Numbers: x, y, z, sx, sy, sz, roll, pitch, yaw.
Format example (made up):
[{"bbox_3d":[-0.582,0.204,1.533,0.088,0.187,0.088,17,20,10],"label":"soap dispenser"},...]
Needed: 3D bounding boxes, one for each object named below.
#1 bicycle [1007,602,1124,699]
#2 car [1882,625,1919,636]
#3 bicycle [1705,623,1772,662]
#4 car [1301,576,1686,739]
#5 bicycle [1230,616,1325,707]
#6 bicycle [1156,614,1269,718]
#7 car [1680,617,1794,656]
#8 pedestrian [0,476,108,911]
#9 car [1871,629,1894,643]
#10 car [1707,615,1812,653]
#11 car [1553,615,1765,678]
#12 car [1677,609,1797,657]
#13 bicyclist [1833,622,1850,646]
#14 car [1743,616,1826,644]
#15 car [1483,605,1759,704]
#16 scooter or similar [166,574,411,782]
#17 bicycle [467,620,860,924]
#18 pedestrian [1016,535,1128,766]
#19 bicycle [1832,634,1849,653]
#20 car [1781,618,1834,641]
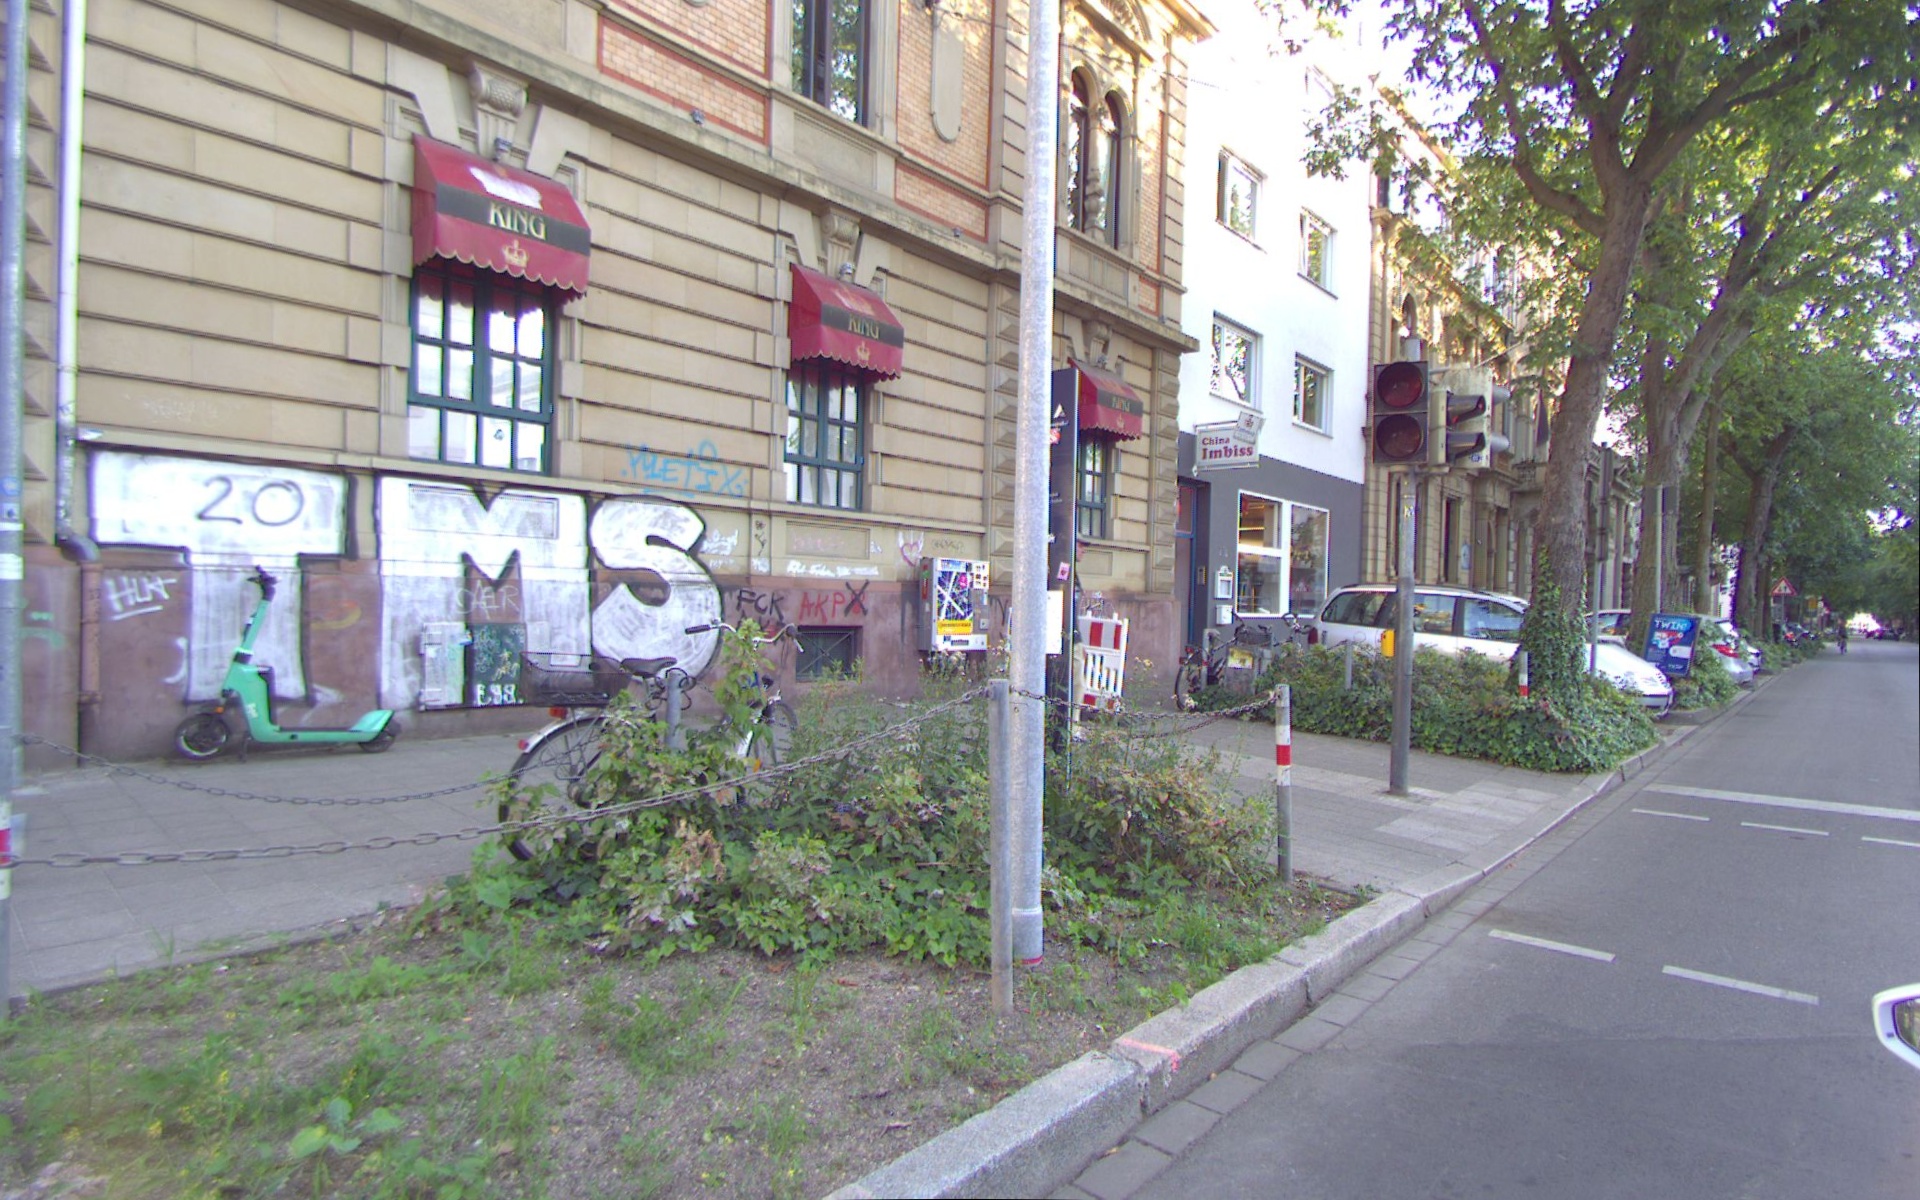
[{"bbox_3d":[1.378,0.622,12.830,0.493,1.122,1.791,5,2,40],"label":"bicycle"},{"bbox_3d":[149.451,4.852,159.639,4.221,1.586,1.952,-1,-2,43],"label":"car"},{"bbox_3d":[26.946,1.478,34.799,0.496,1.248,1.755,3,-1,-42],"label":"bicycle"},{"bbox_3d":[7.297,0.667,14.007,4.372,1.745,1.881,4,2,41],"label":"car"},{"bbox_3d":[4.279,0.793,13.467,0.493,1.122,1.791,5,2,40],"label":"bicycle"},{"bbox_3d":[3.047,0.756,12.012,0.493,1.122,1.791,5,2,40],"label":"bicycle"},{"bbox_3d":[35.851,1.647,46.394,3.922,1.406,1.754,6,4,43],"label":"car"},{"bbox_3d":[-3.908,0.322,3.794,0.894,1.586,0.650,1,3,-25],"label":"pedestrian"},{"bbox_3d":[108.723,4.296,118.418,1.935,1.586,4.259,-1,-2,42],"label":"car"},{"bbox_3d":[42.232,1.769,53.120,4.155,1.694,1.897,4,2,43],"label":"car"},{"bbox_3d":[18.939,1.206,27.350,4.466,1.409,1.904,2,0,45],"label":"car"},{"bbox_3d":[33.934,1.422,43.916,3.921,1.618,1.771,7,3,43],"label":"car"},{"bbox_3d":[48.742,1.889,55.556,0.664,1.280,0.644,1,0,42],"label":"bicyclist"},{"bbox_3d":[58.318,2.094,71.052,4.378,1.673,1.862,4,2,44],"label":"car"},{"bbox_3d":[12.589,0.964,19.302,1.815,1.578,4.128,2,0,-45],"label":"car"},{"bbox_3d":[-4.308,0.455,6.508,0.379,1.214,1.266,5,4,42],"label":"scooter or similar"},{"bbox_3d":[-1.275,0.676,4.697,0.492,1.122,1.794,5,2,36],"label":"bicycle"},{"bbox_3d":[0.944,0.387,8.387,0.814,1.801,0.767,2,3,8],"label":"pedestrian"},{"bbox_3d":[48.722,2.387,55.551,0.664,1.007,1.749,1,0,42],"label":"bicycle"},{"bbox_3d":[100.452,3.516,119.056,4.630,2.510,1.989,2,0,43],"label":"car"}]
